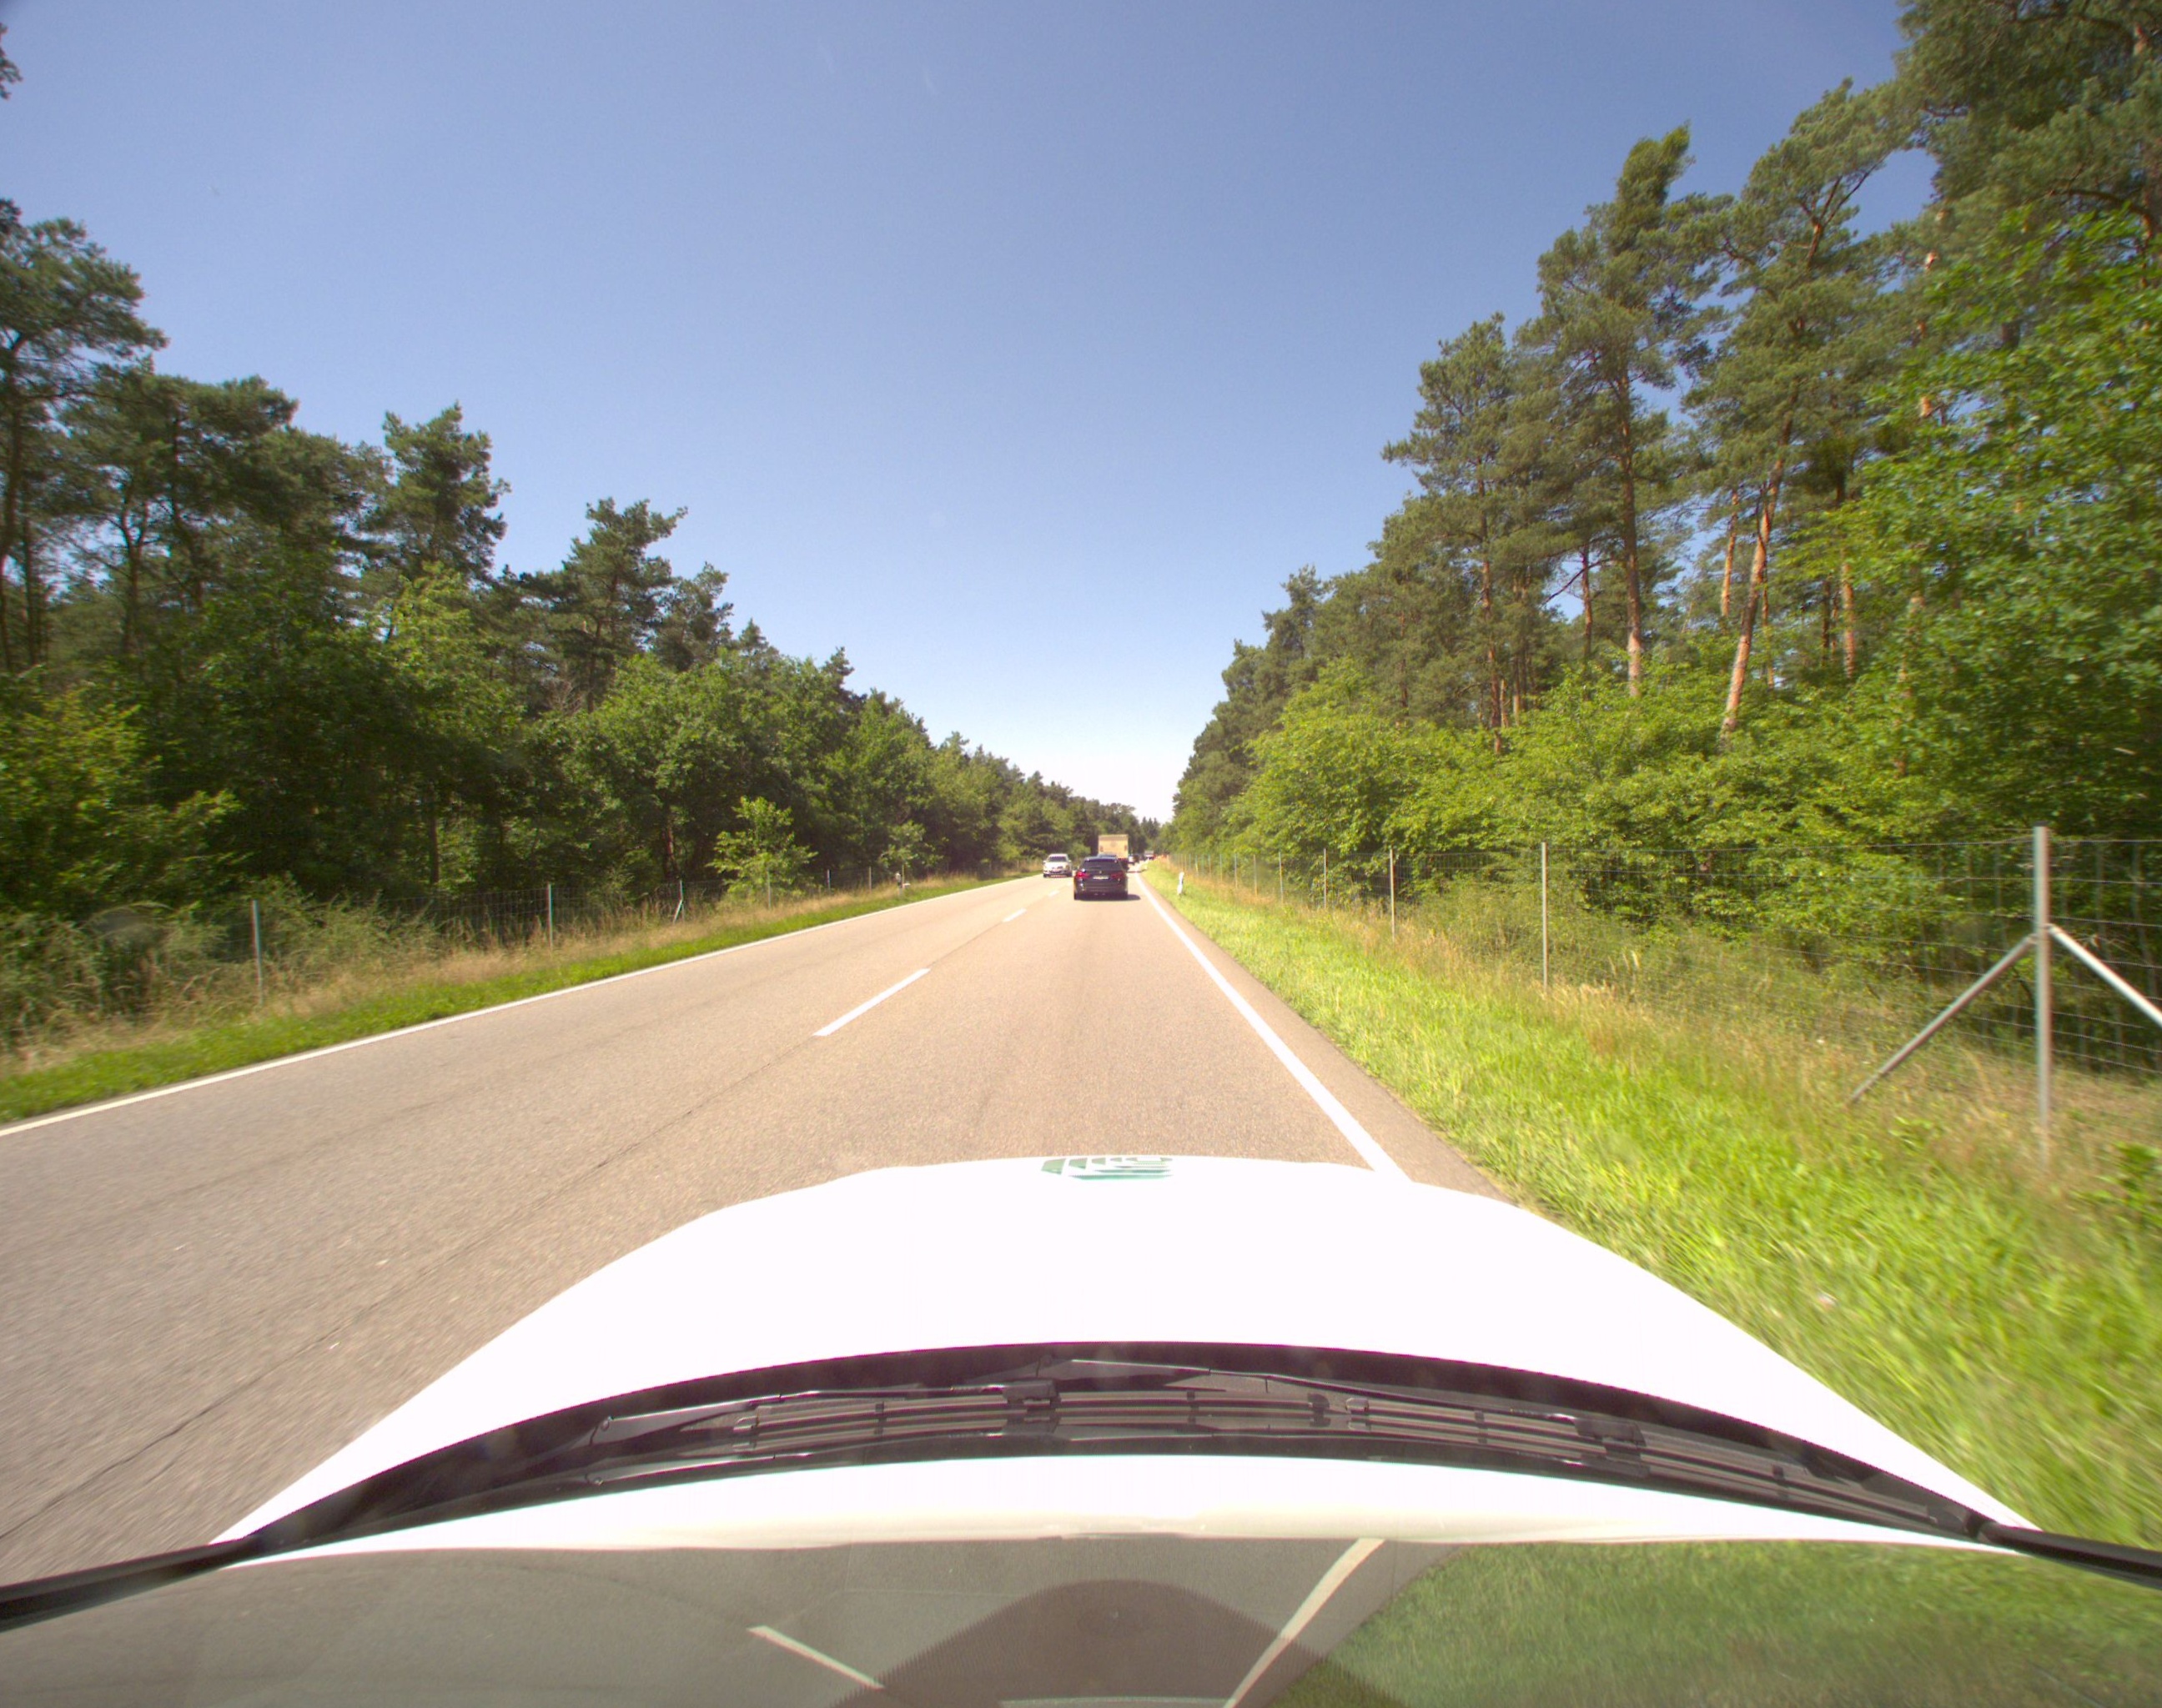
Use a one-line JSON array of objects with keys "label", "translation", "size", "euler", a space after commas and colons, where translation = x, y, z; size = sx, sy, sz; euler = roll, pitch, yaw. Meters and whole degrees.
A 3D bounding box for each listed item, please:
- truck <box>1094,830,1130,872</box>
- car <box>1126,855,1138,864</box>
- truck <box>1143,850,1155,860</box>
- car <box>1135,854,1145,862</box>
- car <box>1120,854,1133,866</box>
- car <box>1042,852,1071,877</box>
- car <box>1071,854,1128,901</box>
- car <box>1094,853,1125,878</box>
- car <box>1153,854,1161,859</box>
[{"label": "truck", "translation": [2.697, -0.253, 71.695], "size": [2.955, 3.387, 6.440], "euler": [-2, 0, 2]}, {"label": "car", "translation": [8.728, 0.934, 138.510], "size": [1.985, 1.420, 4.004], "euler": [-2, 0, 3]}, {"label": "truck", "translation": [16.815, 0.217, 200.695], "size": [2.550, 2.202, 4.984], "euler": [-2, 0, 7]}, {"label": "car", "translation": [12.656, 0.933, 174.261], "size": [1.983, 1.636, 4.007], "euler": [-2, 0, 6]}, {"label": "car", "translation": [6.398, 0.867, 114.221], "size": [1.855, 1.605, 4.003], "euler": [-1, 0, 3]}, {"label": "car", "translation": [-1.677, 0.728, 57.645], "size": [1.857, 1.629, 4.092], "euler": [-1, 0, 0]}, {"label": "car", "translation": [0.661, 0.775, 28.759], "size": [1.814, 1.470, 4.001], "euler": [-1, 0, 1]}, {"label": "car", "translation": [1.913, 0.756, 53.931], "size": [1.939, 1.542, 4.003], "euler": [-2, 0, 3]}, {"label": "car", "translation": [21.543, 0.829, 230.695], "size": [1.783, 1.354, 3.940], "euler": [-1, 0, 10]}]
